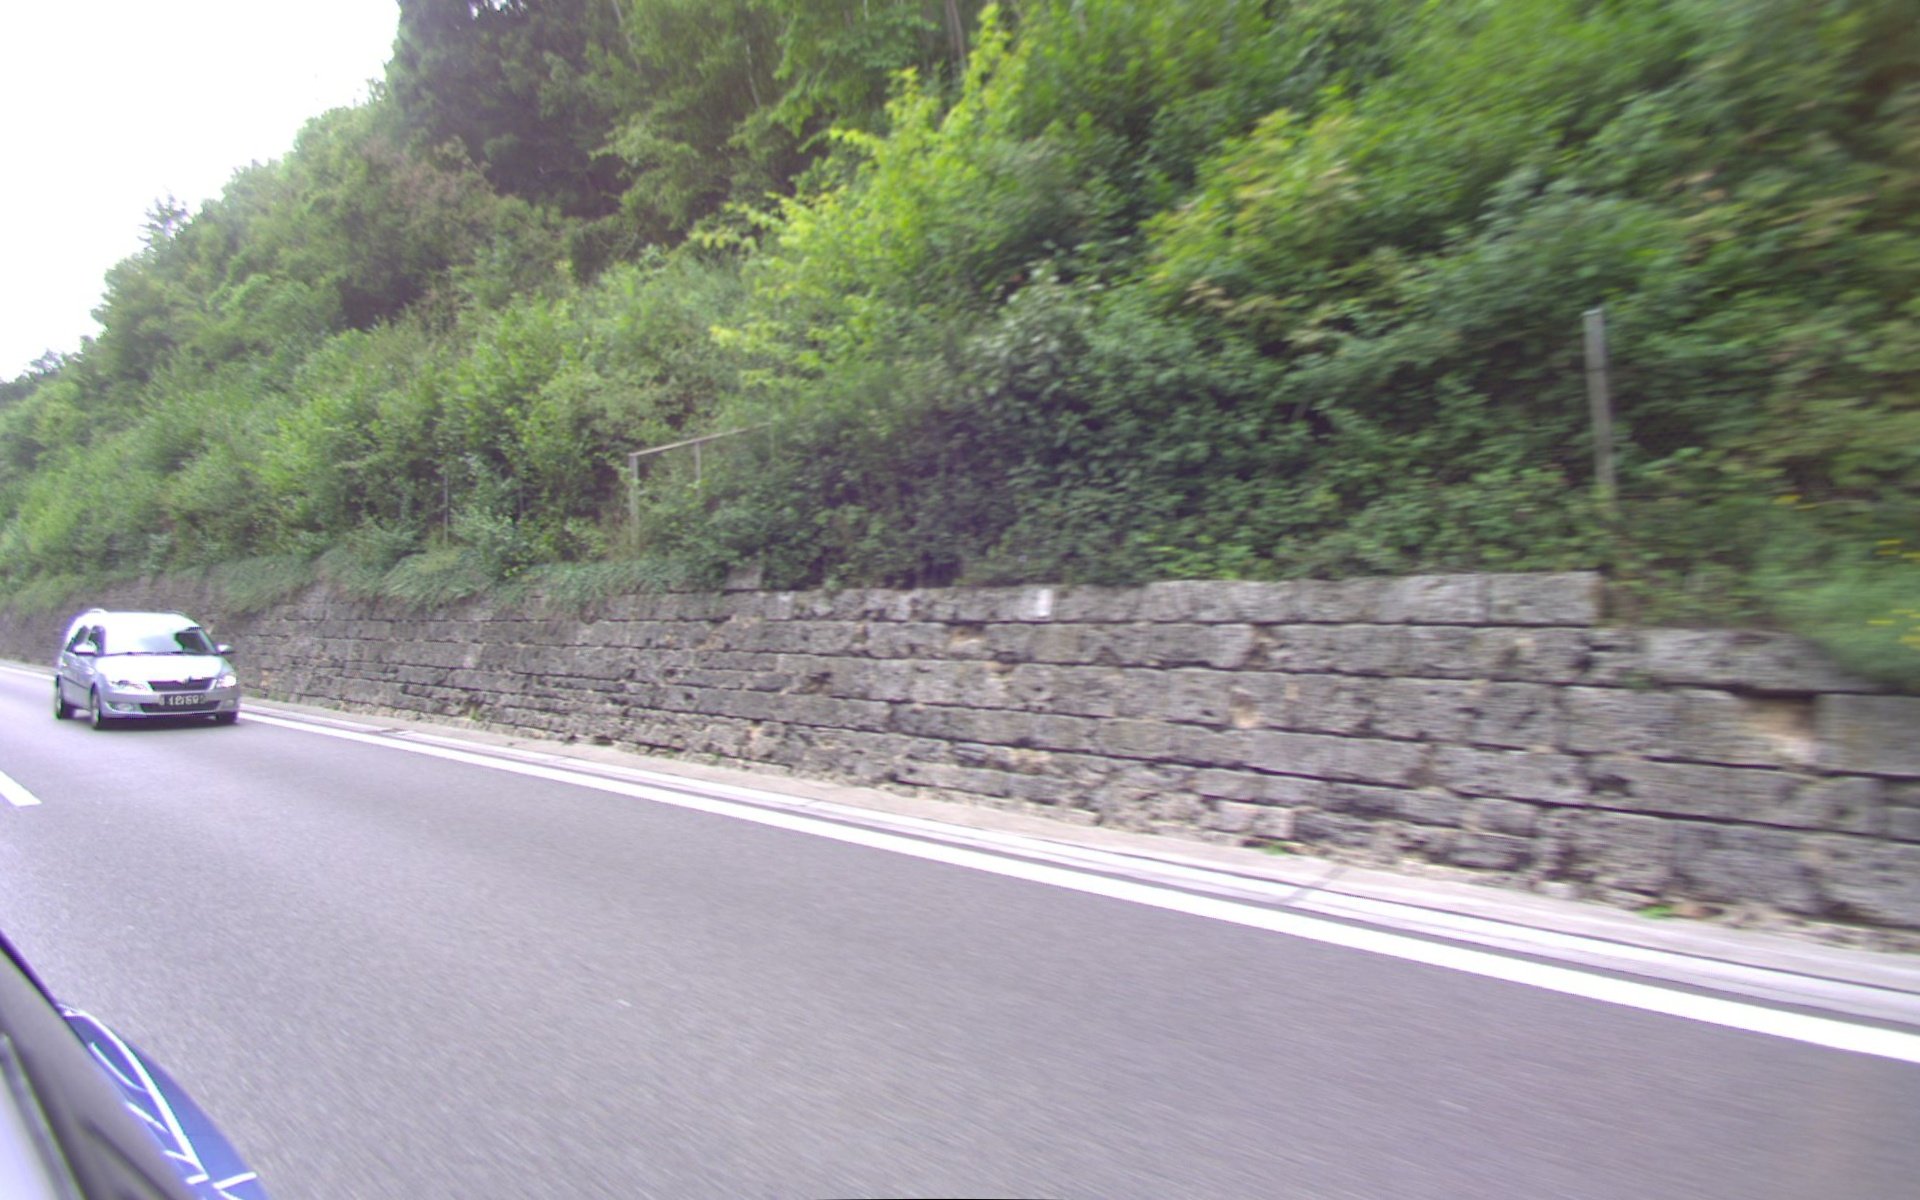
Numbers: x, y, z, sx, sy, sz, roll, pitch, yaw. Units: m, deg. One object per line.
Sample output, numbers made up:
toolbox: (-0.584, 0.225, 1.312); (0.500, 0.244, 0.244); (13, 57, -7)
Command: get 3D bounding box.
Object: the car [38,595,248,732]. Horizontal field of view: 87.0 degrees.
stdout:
car: (-12.150, 0.858, 14.950); (4.342, 1.740, 1.617); (-1, -3, 41)
